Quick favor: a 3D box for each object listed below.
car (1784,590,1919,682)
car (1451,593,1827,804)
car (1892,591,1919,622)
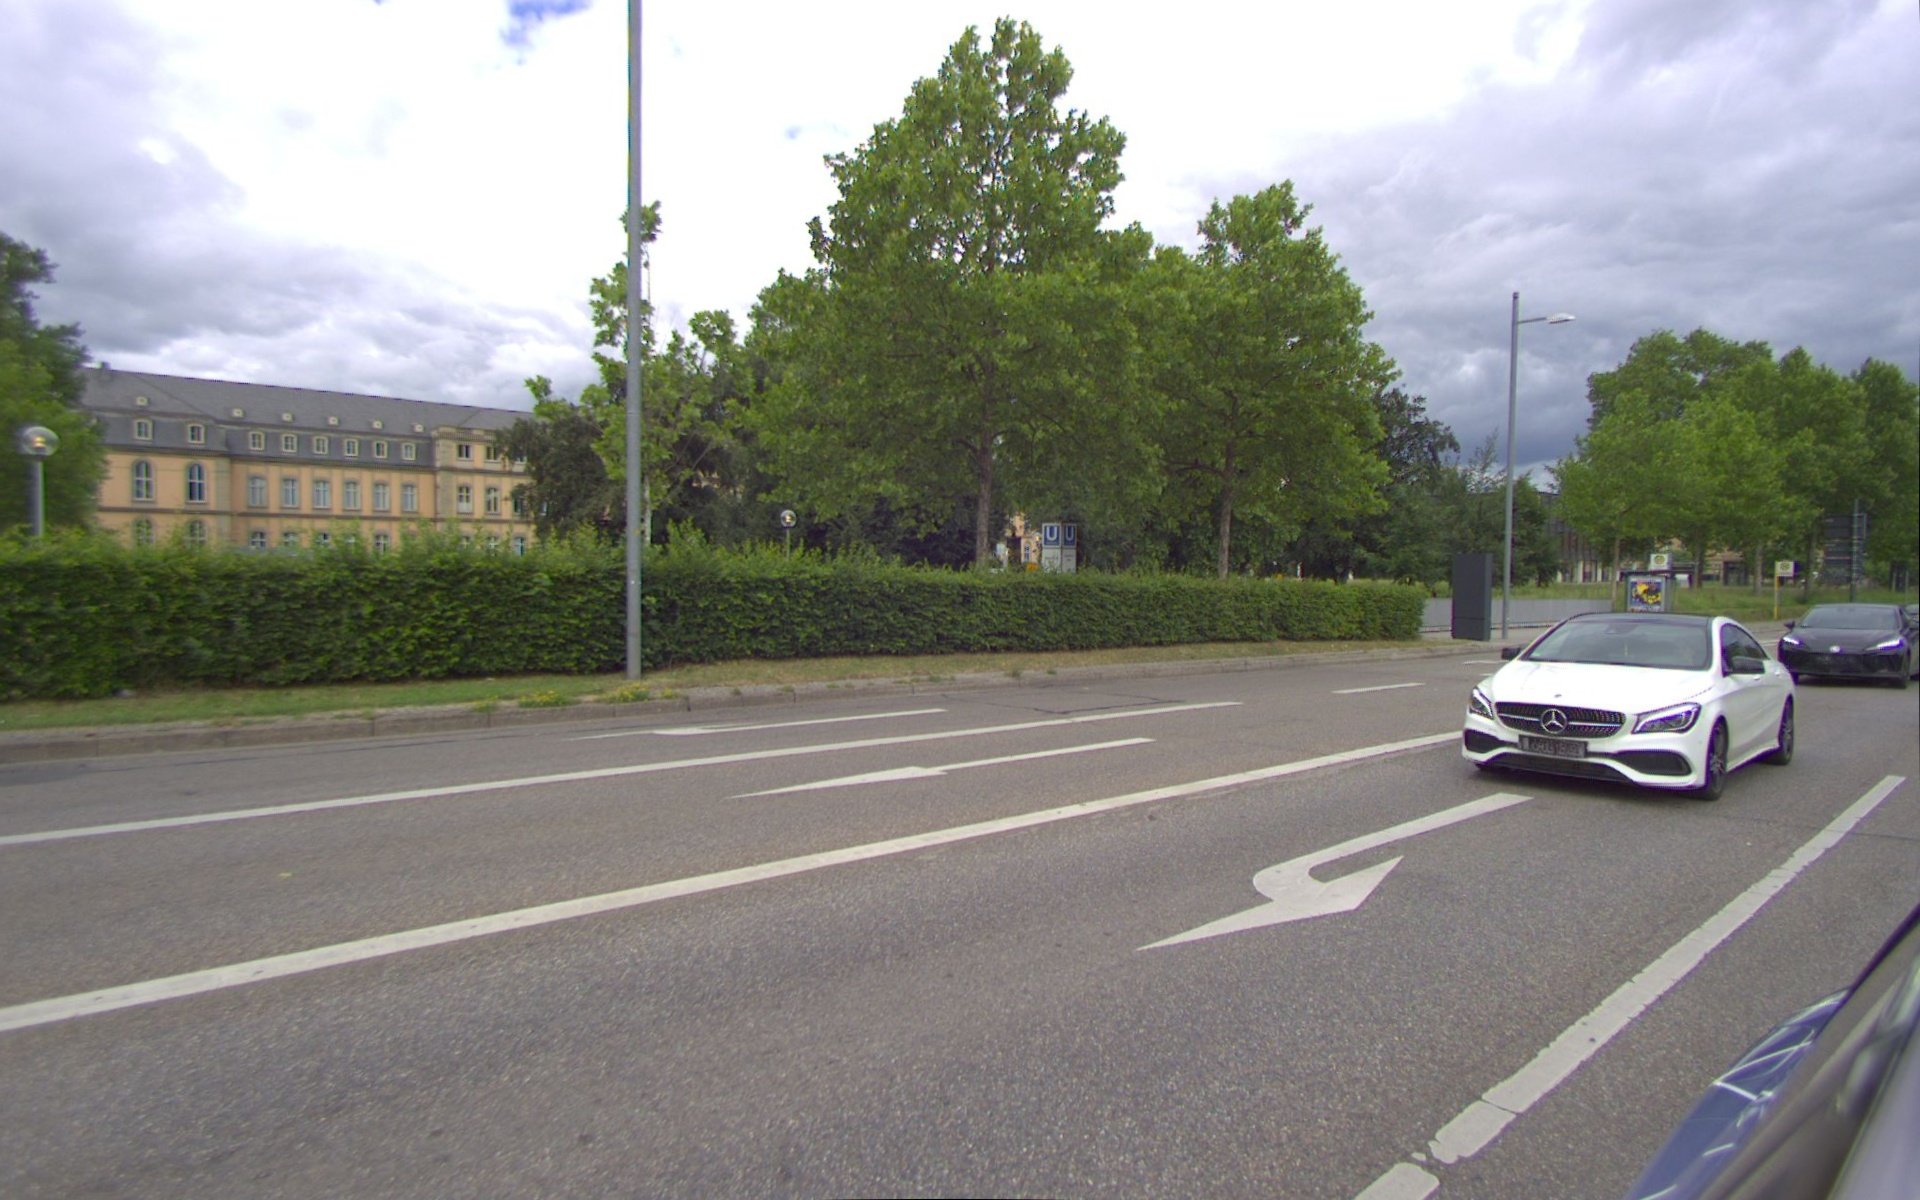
[{"bbox_3d":[17.254,0.617,19.207,4.047,1.543,1.828,0,1,-41],"label":"car"},{"bbox_3d":[6.316,0.675,9.201,4.427,1.441,1.722,-1,1,-41],"label":"car"},{"bbox_3d":[46.744,0.285,49.037,3.929,1.438,1.866,0,1,-40],"label":"car"}]
